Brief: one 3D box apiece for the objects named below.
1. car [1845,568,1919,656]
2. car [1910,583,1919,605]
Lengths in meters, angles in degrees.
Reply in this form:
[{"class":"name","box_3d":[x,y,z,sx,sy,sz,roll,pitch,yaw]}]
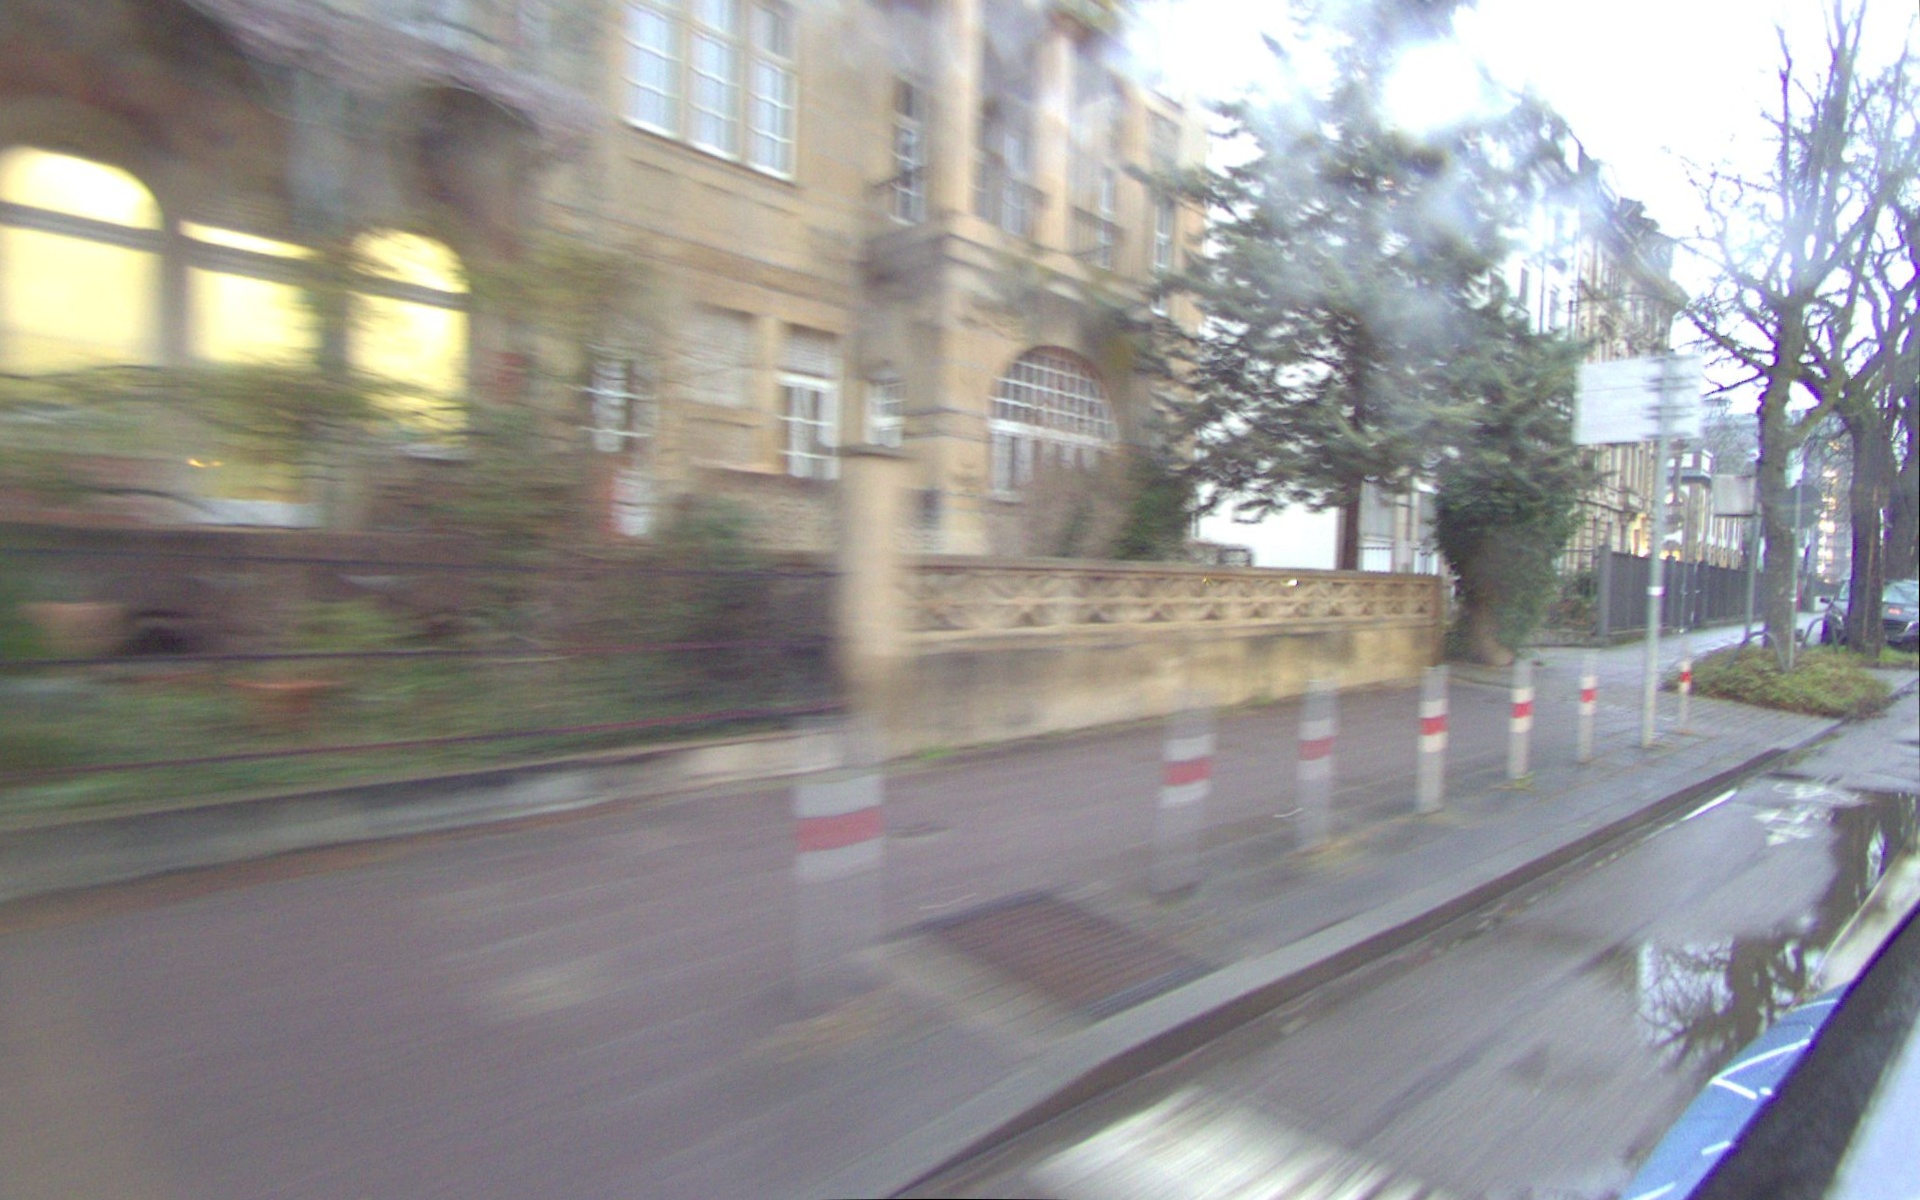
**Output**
[{"class":"car","box_3d":[22.672,0.252,24.493,1.721,1.970,4.438,0,0,43]},{"class":"car","box_3d":[63.825,-0.387,66.555,1.721,1.430,3.786,4,3,41]}]
